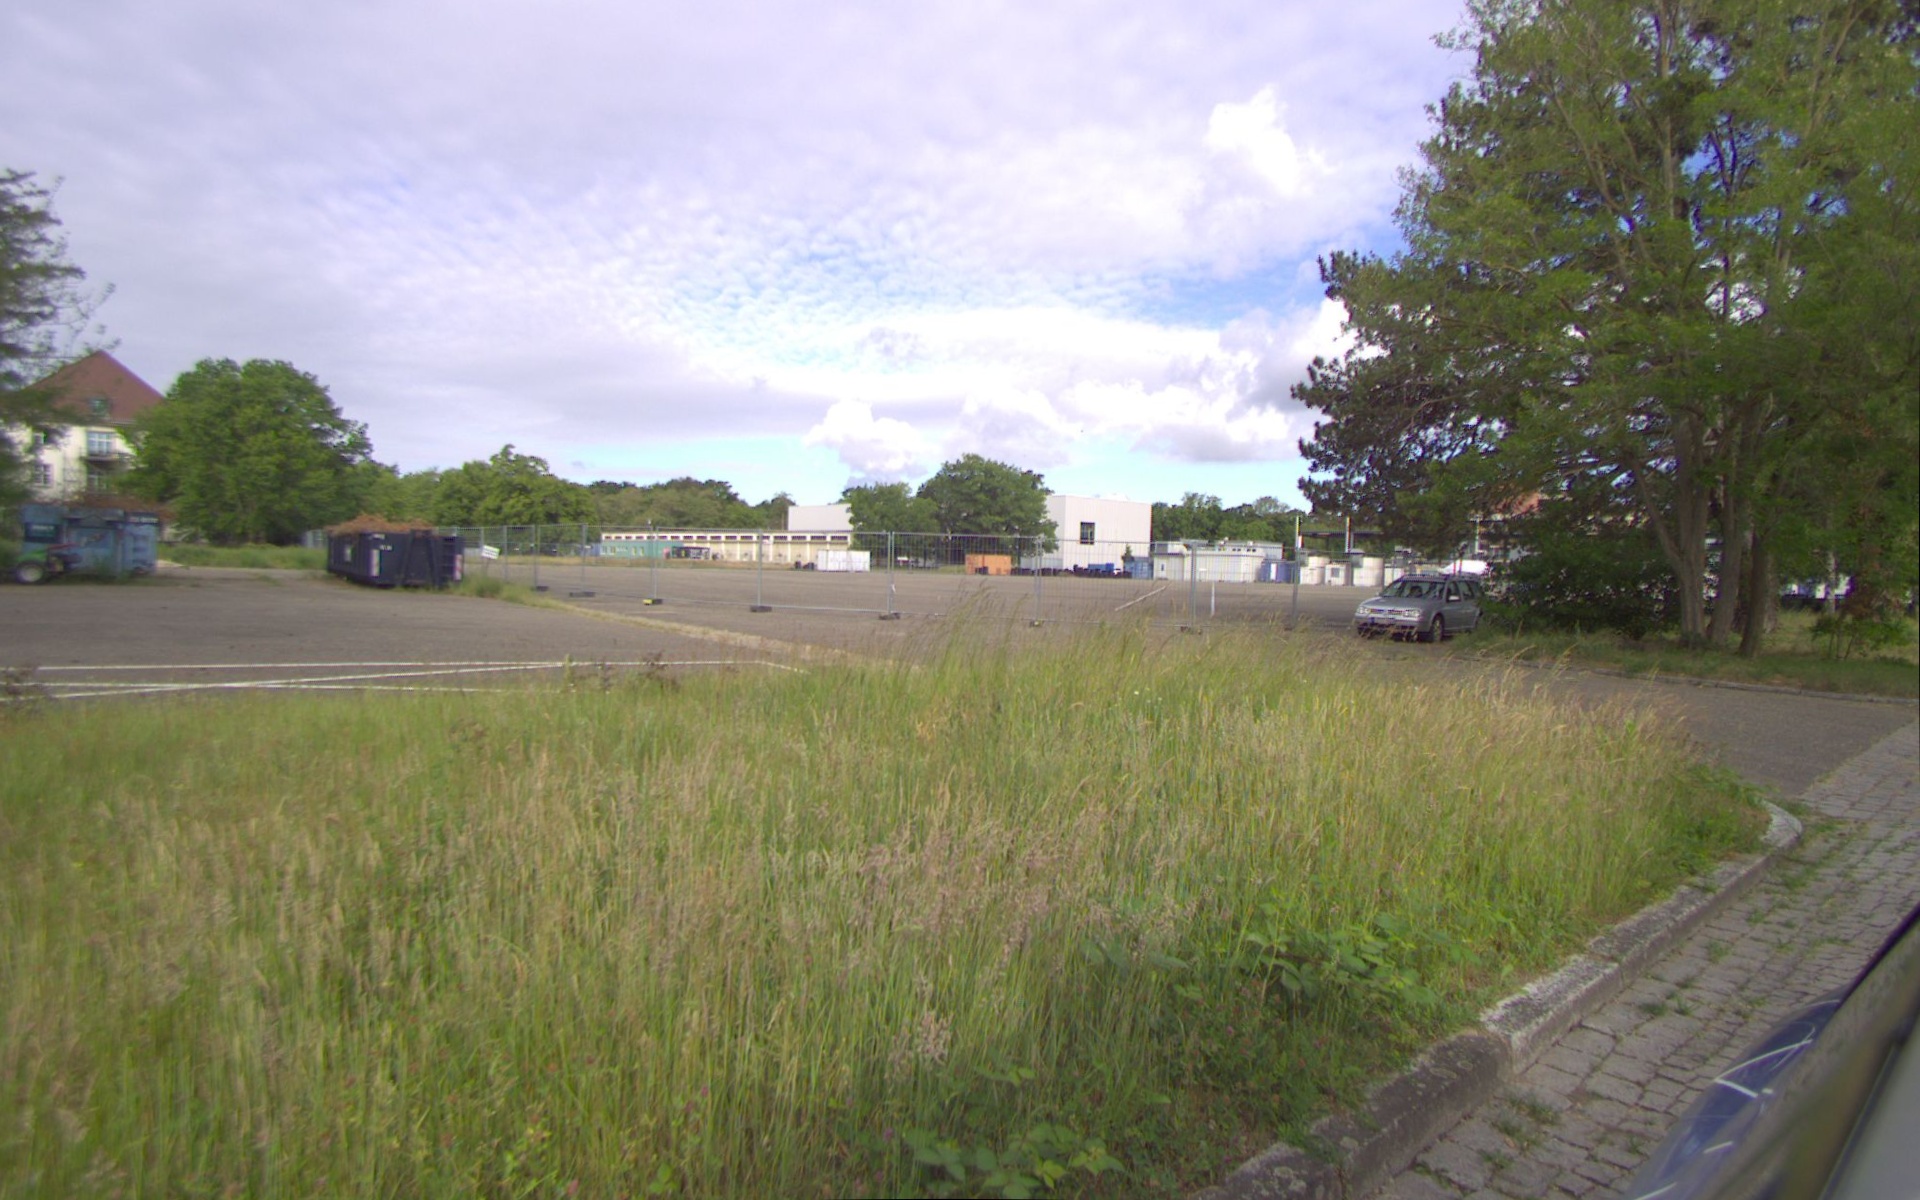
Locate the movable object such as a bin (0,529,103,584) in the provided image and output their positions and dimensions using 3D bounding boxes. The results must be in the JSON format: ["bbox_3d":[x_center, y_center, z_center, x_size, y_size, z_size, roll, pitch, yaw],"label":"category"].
[{"bbox_3d":[-19.982,-0.950,21.631,2.499,1.097,1.064,1,2,-42],"label":"movable object such as a bin"}]

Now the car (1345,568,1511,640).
[{"bbox_3d":[10.753,0.062,23.144,4.250,1.466,1.759,0,3,-40],"label":"car"}]
